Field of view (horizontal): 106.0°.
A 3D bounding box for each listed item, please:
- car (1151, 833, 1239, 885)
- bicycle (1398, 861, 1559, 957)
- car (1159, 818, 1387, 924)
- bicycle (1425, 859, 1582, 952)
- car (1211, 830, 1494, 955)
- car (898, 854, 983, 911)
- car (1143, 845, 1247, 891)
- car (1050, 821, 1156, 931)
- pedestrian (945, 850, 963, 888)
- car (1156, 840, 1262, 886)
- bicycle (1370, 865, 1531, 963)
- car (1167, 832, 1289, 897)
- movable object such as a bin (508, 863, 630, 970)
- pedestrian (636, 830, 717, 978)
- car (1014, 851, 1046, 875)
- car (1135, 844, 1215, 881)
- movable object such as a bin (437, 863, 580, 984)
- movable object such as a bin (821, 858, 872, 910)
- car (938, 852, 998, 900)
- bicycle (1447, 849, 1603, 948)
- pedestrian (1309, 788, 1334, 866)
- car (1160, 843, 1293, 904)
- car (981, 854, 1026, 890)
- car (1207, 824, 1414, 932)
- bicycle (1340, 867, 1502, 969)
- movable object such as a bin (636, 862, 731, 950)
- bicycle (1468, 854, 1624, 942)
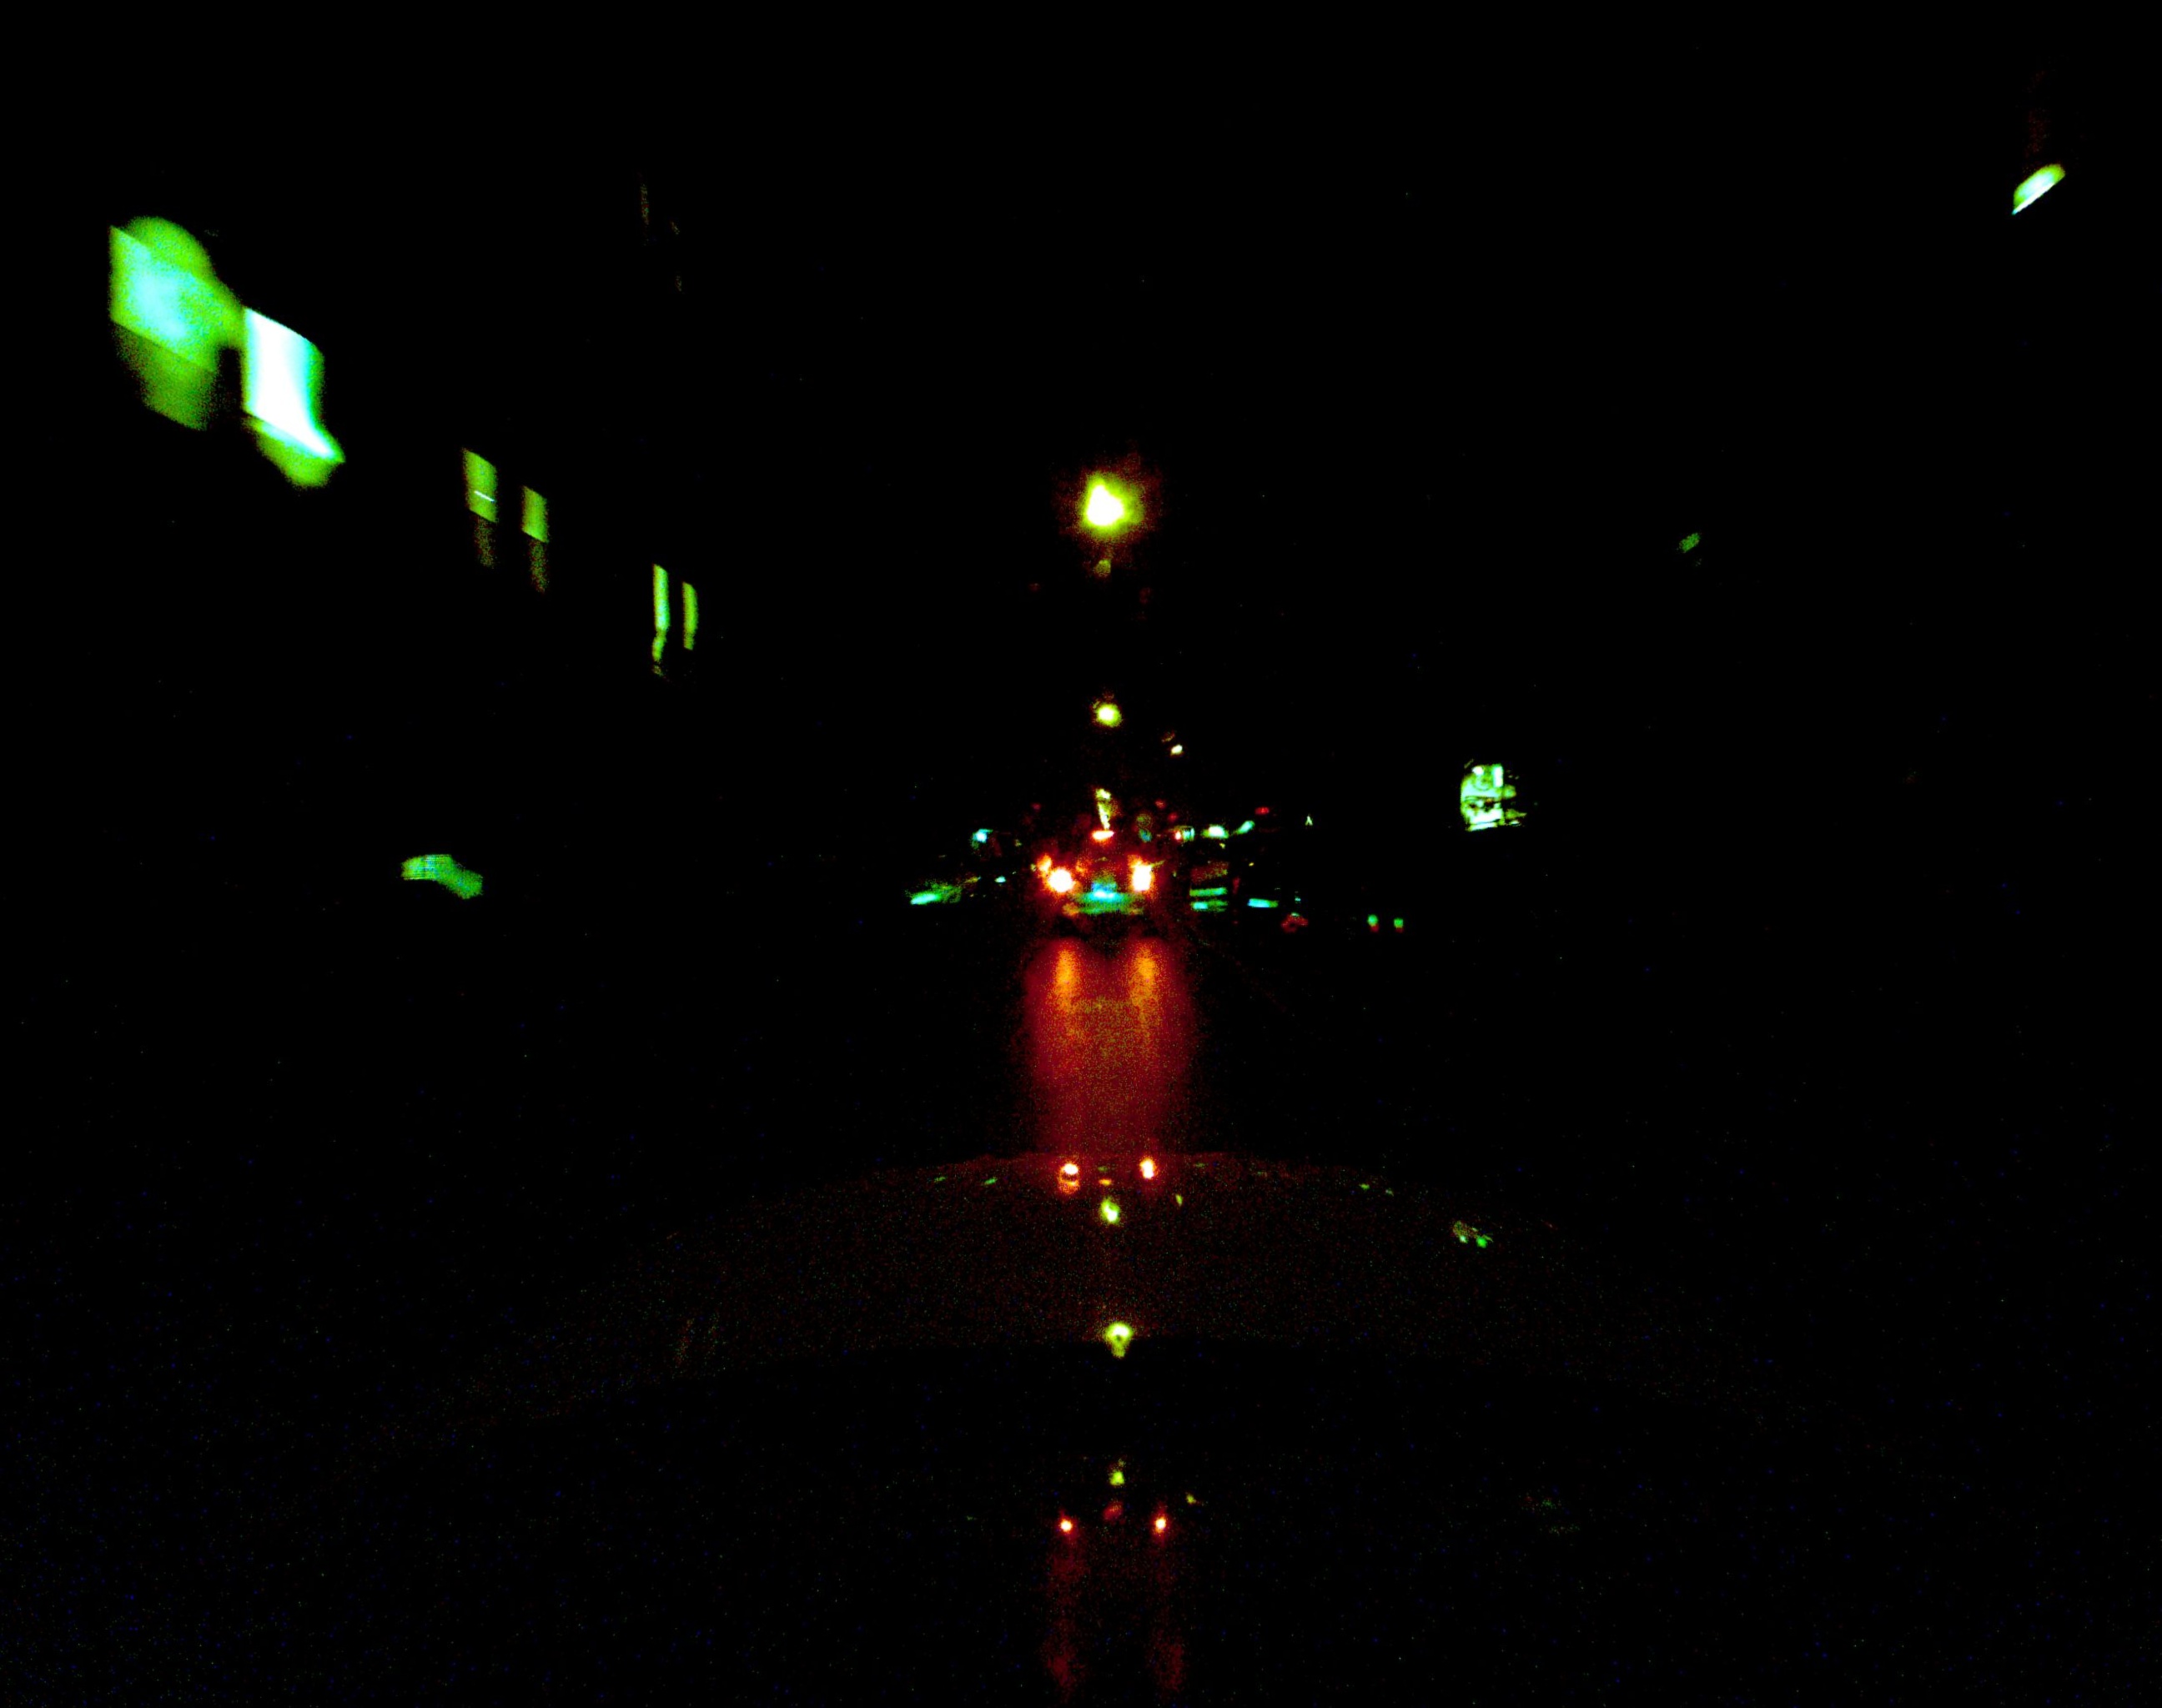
[{"bbox_3d":[4.964,0.213,35.422,3.581,1.990,1.588,-4,0,-35],"label":"car"},{"bbox_3d":[4.982,0.661,10.337,0.521,1.076,1.810,-3,0,-29],"label":"bicycle"},{"bbox_3d":[4.325,0.296,18.162,4.813,2.049,2.047,-2,0,-29],"label":"car"},{"bbox_3d":[5.424,0.637,10.581,0.448,1.076,1.810,-3,0,-29],"label":"bicycle"},{"bbox_3d":[4.198,0.515,12.524,4.008,1.492,1.720,-4,0,-26],"label":"car"},{"bbox_3d":[-3.934,0.747,23.440,1.580,1.482,3.796,-1,0,3],"label":"car"},{"bbox_3d":[4.260,0.517,30.251,3.580,1.453,1.655,-4,0,-34],"label":"car"},{"bbox_3d":[0.484,0.446,17.544,1.986,2.050,4.001,-1,-1,2],"label":"car"},{"bbox_3d":[-5.828,0.691,37.264,0.698,1.704,0.539,-1,0,2],"label":"pedestrian"},{"bbox_3d":[5.264,0.359,33.241,4.017,1.587,1.861,-4,1,-34],"label":"car"},{"bbox_3d":[4.502,0.695,10.062,0.521,1.076,1.810,-3,0,-29],"label":"bicycle"},{"bbox_3d":[4.845,0.330,26.741,3.766,1.840,1.707,-4,0,-35],"label":"car"},{"bbox_3d":[-7.224,0.846,11.552,0.970,1.420,1.134,0,0,4],"label":"movable object such as a bin"},{"bbox_3d":[-5.172,0.613,10.447,0.589,1.820,0.795,1,0,2],"label":"pedestrian"},{"bbox_3d":[-3.630,0.622,58.236,1.876,1.685,4.002,-1,0,2],"label":"car"},{"bbox_3d":[4.479,0.392,38.555,3.580,1.591,1.588,-2,-1,-35],"label":"car"},{"bbox_3d":[-7.198,0.837,10.310,0.970,1.420,1.134,0,0,4],"label":"movable object such as a bin"},{"bbox_3d":[-6.600,0.831,22.998,1.043,1.398,1.159,0,0,4],"label":"movable object such as a bin"},{"bbox_3d":[-3.949,0.733,28.978,1.651,1.557,4.074,-1,0,-2],"label":"car"},{"bbox_3d":[5.832,0.562,10.824,0.448,1.191,1.810,-3,0,-29],"label":"bicycle"},{"bbox_3d":[11.036,-1.233,37.447,0.888,3.528,0.791,-1,0,1],"label":"pedestrian"},{"bbox_3d":[4.268,0.548,23.769,3.580,1.484,1.708,-4,0,-34],"label":"car"},{"bbox_3d":[-3.617,0.811,38.599,1.808,1.557,4.074,-1,0,-2],"label":"car"},{"bbox_3d":[4.399,0.413,15.552,3.574,1.711,1.631,-4,0,-28],"label":"car"},{"bbox_3d":[4.018,0.721,9.777,0.521,1.076,1.810,-3,0,-29],"label":"bicycle"},{"bbox_3d":[-6.651,0.849,13.691,0.970,1.398,1.134,0,0,4],"label":"movable object such as a bin"},{"bbox_3d":[6.241,0.571,11.045,0.448,1.076,1.810,-3,0,-29],"label":"bicycle"}]
